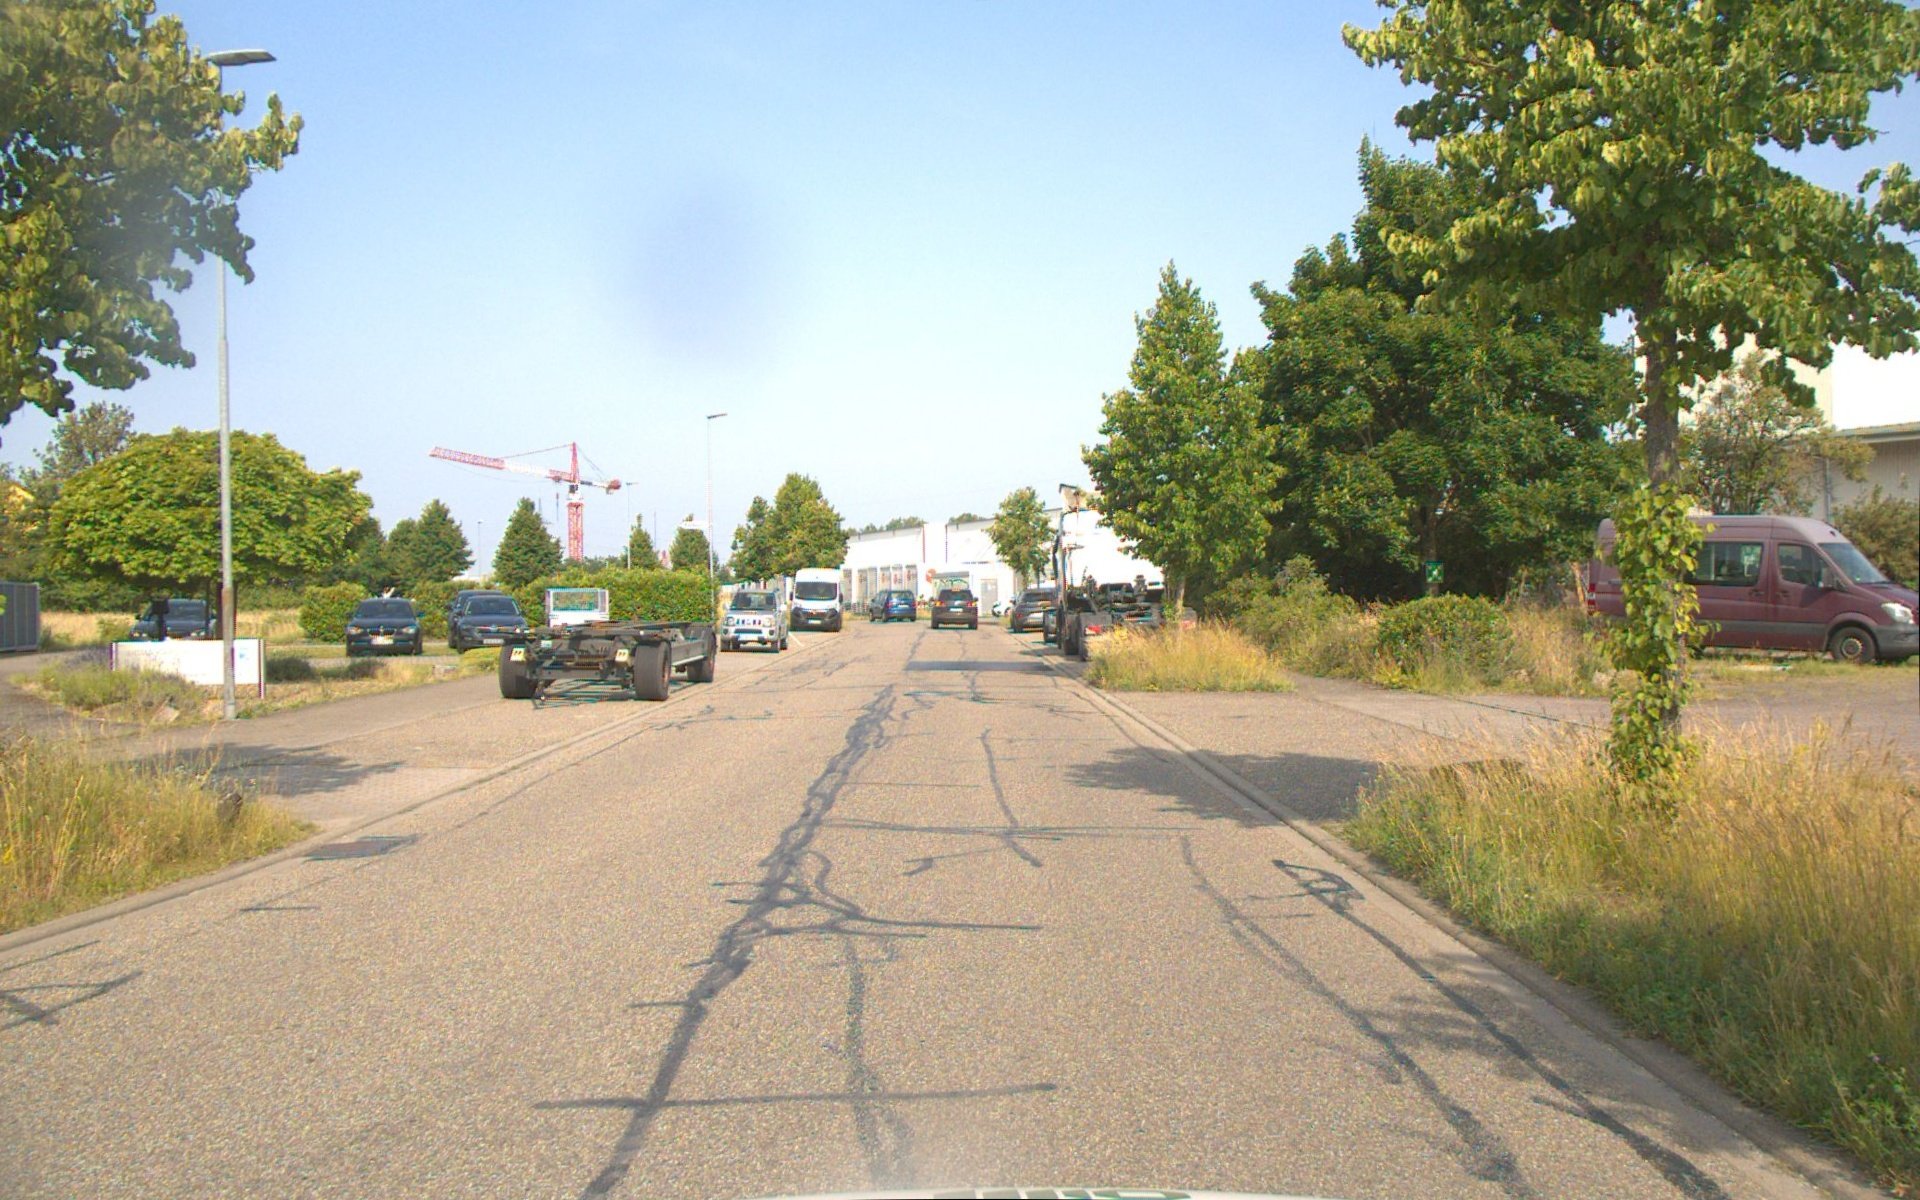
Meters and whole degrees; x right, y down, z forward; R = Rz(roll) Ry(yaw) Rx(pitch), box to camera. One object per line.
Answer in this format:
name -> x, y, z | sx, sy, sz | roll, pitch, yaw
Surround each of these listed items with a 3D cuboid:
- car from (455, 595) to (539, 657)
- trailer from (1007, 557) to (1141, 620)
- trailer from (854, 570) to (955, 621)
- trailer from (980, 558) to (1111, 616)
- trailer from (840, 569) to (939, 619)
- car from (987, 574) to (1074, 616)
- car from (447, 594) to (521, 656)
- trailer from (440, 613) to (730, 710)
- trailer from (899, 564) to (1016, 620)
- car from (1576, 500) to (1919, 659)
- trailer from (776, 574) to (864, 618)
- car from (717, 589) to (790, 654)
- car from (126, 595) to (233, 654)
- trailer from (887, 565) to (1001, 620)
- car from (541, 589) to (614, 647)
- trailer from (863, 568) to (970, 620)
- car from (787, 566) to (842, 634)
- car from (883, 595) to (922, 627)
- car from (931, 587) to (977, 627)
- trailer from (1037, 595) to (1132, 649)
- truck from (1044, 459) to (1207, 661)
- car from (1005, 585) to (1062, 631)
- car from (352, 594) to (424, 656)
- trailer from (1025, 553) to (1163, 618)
car -> -12.133, 0.638, 43.177 | 1.945, 1.502, 4.399 | 0, 0, -18
trailer -> 7.503, -0.774, 108.762 | 8.420, 3.961, 2.756 | -1, 0, -23
trailer -> -4.589, -0.349, 137.024 | 7.929, 3.962, 2.755 | 2, 0, -25
trailer -> 5.800, -0.844, 111.896 | 8.617, 3.827, 2.769 | 0, -1, -24
trailer -> -5.971, -0.489, 139.647 | 7.859, 3.962, 2.755 | 2, 0, -25
car -> 3.784, -0.251, 89.433 | 4.517, 2.147, 2.127 | -1, -1, -3
car -> -13.869, 0.681, 48.048 | 1.958, 1.687, 4.399 | 0, 0, -18
trailer -> -5.573, 0.838, 26.465 | 2.494, 1.093, 9.730 | 1, 0, -1
trailer -> -0.171, -0.593, 124.626 | 8.425, 3.962, 2.754 | 2, 0, -25
car -> 14.562, -0.345, 29.884 | 2.552, 2.569, 5.957 | 2, 0, -41
trailer -> -13.283, -0.328, 157.171 | 7.859, 3.962, 2.755 | 2, 0, -25
car -> -5.620, 0.545, 45.378 | 1.564, 1.680, 3.644 | -1, 0, -1
car -> -19.121, 0.569, 40.683 | 1.960, 1.348, 4.325 | 0, 0, -20
trailer -> -1.226, -0.548, 127.620 | 8.425, 3.962, 2.754 | 2, 0, -25
car -> -11.291, 0.515, 48.684 | 1.804, 1.599, 3.798 | 1, 0, -17
trailer -> -3.491, -0.449, 133.205 | 8.199, 3.962, 2.755 | 2, 0, -25
car -> -6.066, -0.009, 69.665 | 2.060, 2.640, 6.499 | 2, 0, -3
car -> -3.003, 0.581, 86.164 | 1.929, 1.601, 4.111 | -1, -1, -2
car -> -0.258, 0.295, 69.812 | 1.842, 1.614, 4.113 | -1, -1, -1
trailer -> 3.288, 0.532, 45.053 | 1.899, 1.257, 7.450 | -3, 0, -1
truck -> 3.572, -0.844, 37.205 | 2.638, 4.033, 6.045 | -3, 0, -2
car -> 2.666, 0.305, 61.208 | 1.842, 1.601, 4.113 | -2, 0, -1
car -> -14.661, 0.603, 42.339 | 1.654, 1.502, 4.325 | 0, 0, -20
trailer -> 8.557, -0.892, 105.754 | 8.417, 3.962, 2.757 | 0, -3, -22
